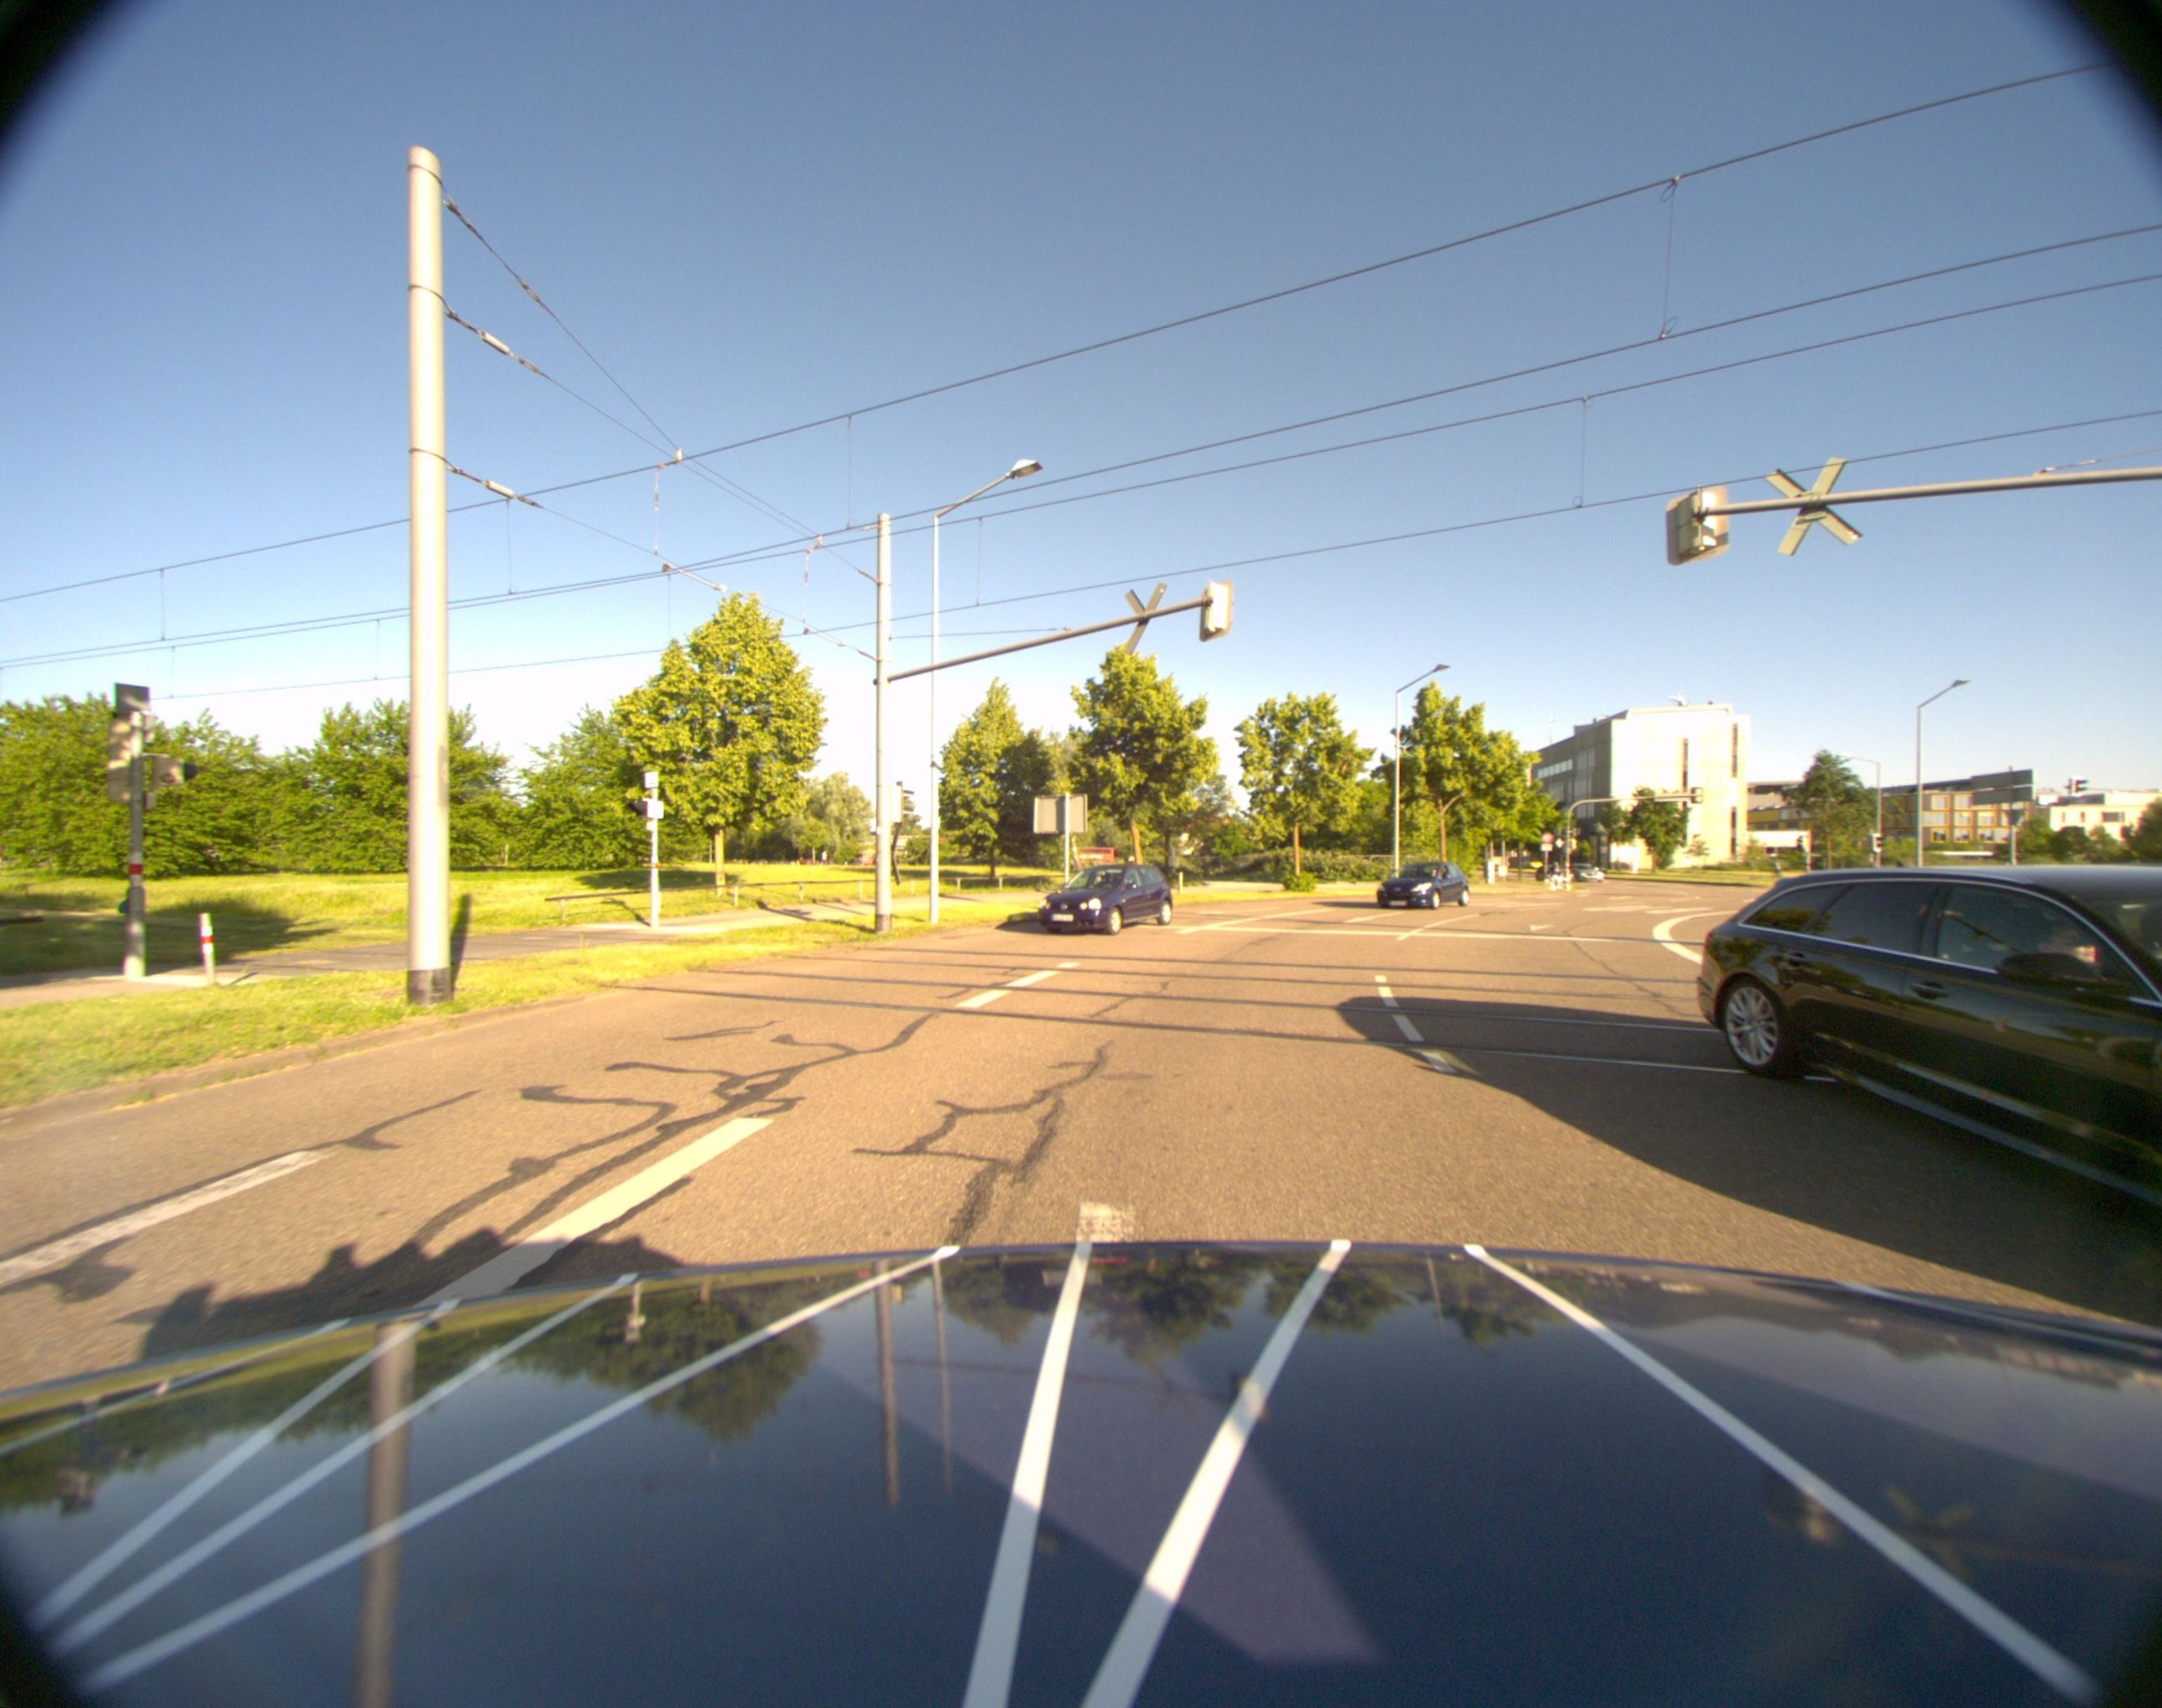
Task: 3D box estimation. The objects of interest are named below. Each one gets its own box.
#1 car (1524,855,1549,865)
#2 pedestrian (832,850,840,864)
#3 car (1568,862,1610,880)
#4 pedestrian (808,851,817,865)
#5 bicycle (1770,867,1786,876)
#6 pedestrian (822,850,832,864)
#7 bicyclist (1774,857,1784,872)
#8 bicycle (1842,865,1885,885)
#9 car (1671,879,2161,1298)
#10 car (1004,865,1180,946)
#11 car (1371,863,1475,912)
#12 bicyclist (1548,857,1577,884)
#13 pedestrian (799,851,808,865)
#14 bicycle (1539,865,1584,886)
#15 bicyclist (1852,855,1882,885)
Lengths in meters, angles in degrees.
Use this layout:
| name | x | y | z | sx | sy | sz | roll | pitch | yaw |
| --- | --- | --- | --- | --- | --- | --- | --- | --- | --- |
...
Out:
| name | x | y | z | sx | sy | sz | roll | pitch | yaw |
| --- | --- | --- | --- | --- | --- | --- | --- | --- | --- |
| car | 69.219 | 0.887 | 115.442 | 2.006 | 1.532 | 4.329 | 0 | 0 | 12 |
| pedestrian | -25.529 | 0.304 | 79.129 | 0.661 | 1.432 | 0.794 | 0 | 0 | -2 |
| car | 42.347 | 1.389 | 63.465 | 1.933 | 1.371 | 4.543 | 0 | 0 | 21 |
| pedestrian | -27.857 | 0.376 | 78.892 | 0.687 | 1.432 | 0.794 | 0 | 0 | -2 |
| bicycle | 71.657 | 1.781 | 78.095 | 0.490 | 0.847 | 1.892 | 0 | 0 | 19 |
| pedestrian | -26.609 | 0.329 | 79.518 | 0.773 | 1.432 | 0.794 | 0 | 0 | -2 |
| bicyclist | 71.619 | 1.105 | 77.946 | 0.432 | 1.555 | 0.853 | 1 | 0 | 19 |
| bicycle | 44.831 | 1.184 | 43.563 | 1.653 | 1.122 | 0.704 | 0 | 1 | 5 |
| car | 5.045 | 0.909 | 3.476 | 1.795 | 1.435 | 5.022 | 0 | 0 | 14 |
| car | 0.407 | 1.003 | 16.545 | 1.633 | 1.459 | 4.555 | 0 | 0 | 33 |
| car | 11.107 | 1.038 | 24.553 | 1.753 | 1.445 | 4.009 | -1 | -1 | 45 |
| bicyclist | 28.523 | 0.951 | 45.062 | 1.088 | 1.553 | 0.875 | 1 | 2 | -9 |
| pedestrian | -28.945 | 0.402 | 79.293 | 0.687 | 1.432 | 0.794 | 0 | 0 | -2 |
| bicycle | 28.496 | 1.279 | 45.064 | 2.217 | 1.148 | 0.875 | 1 | 2 | -9 |
| bicyclist | 45.029 | 0.915 | 43.550 | 0.942 | 1.654 | 0.704 | 0 | 2 | 5 |
